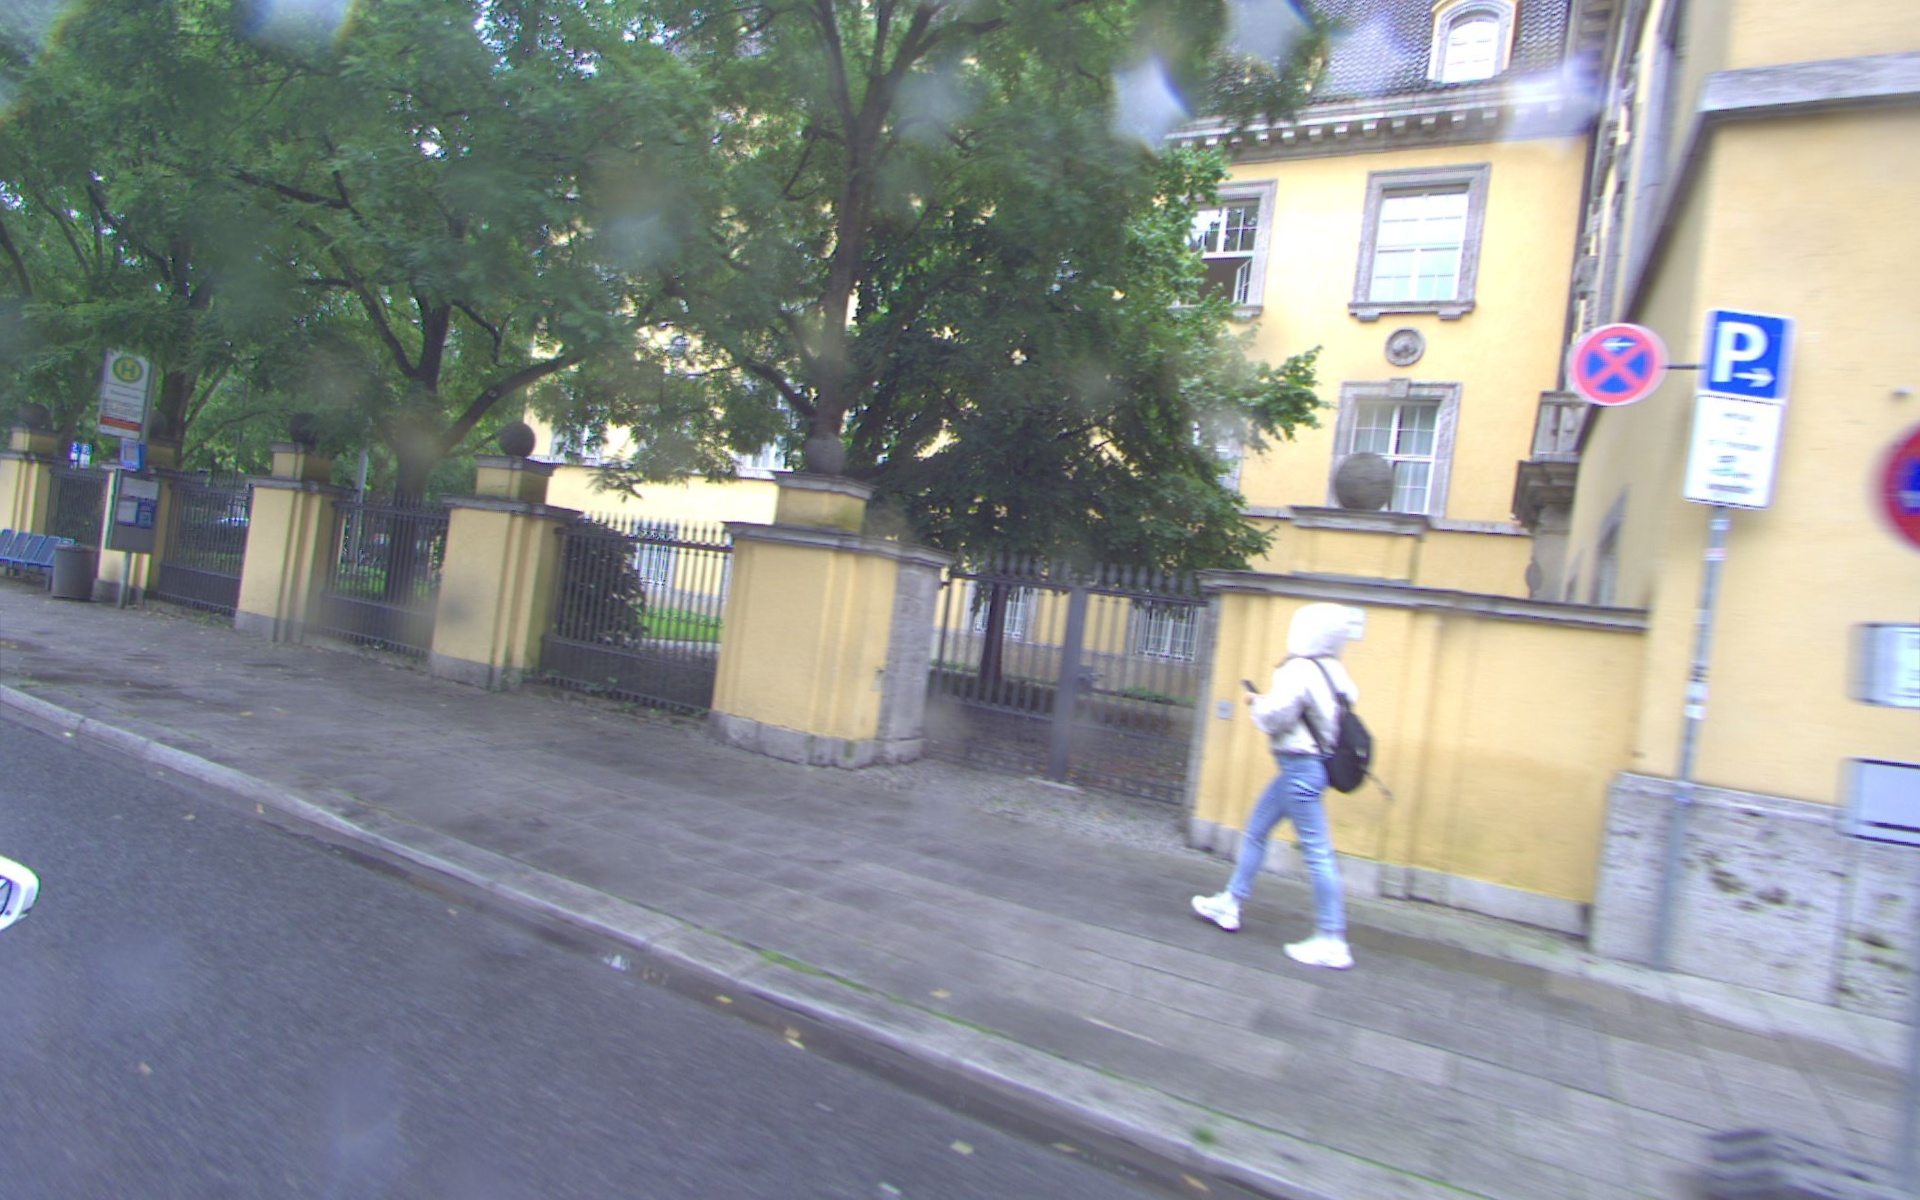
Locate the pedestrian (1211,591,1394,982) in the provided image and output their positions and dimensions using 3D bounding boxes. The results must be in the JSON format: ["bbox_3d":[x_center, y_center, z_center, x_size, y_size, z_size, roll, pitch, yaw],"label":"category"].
[{"bbox_3d":[1.622,0.824,4.744,0.561,1.659,0.560,7,2,28],"label":"pedestrian"}]

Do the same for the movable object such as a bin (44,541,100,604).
[{"bbox_3d":[-12.134,-0.370,13.750,0.457,0.790,0.397,7,1,31],"label":"movable object such as a bin"}]
